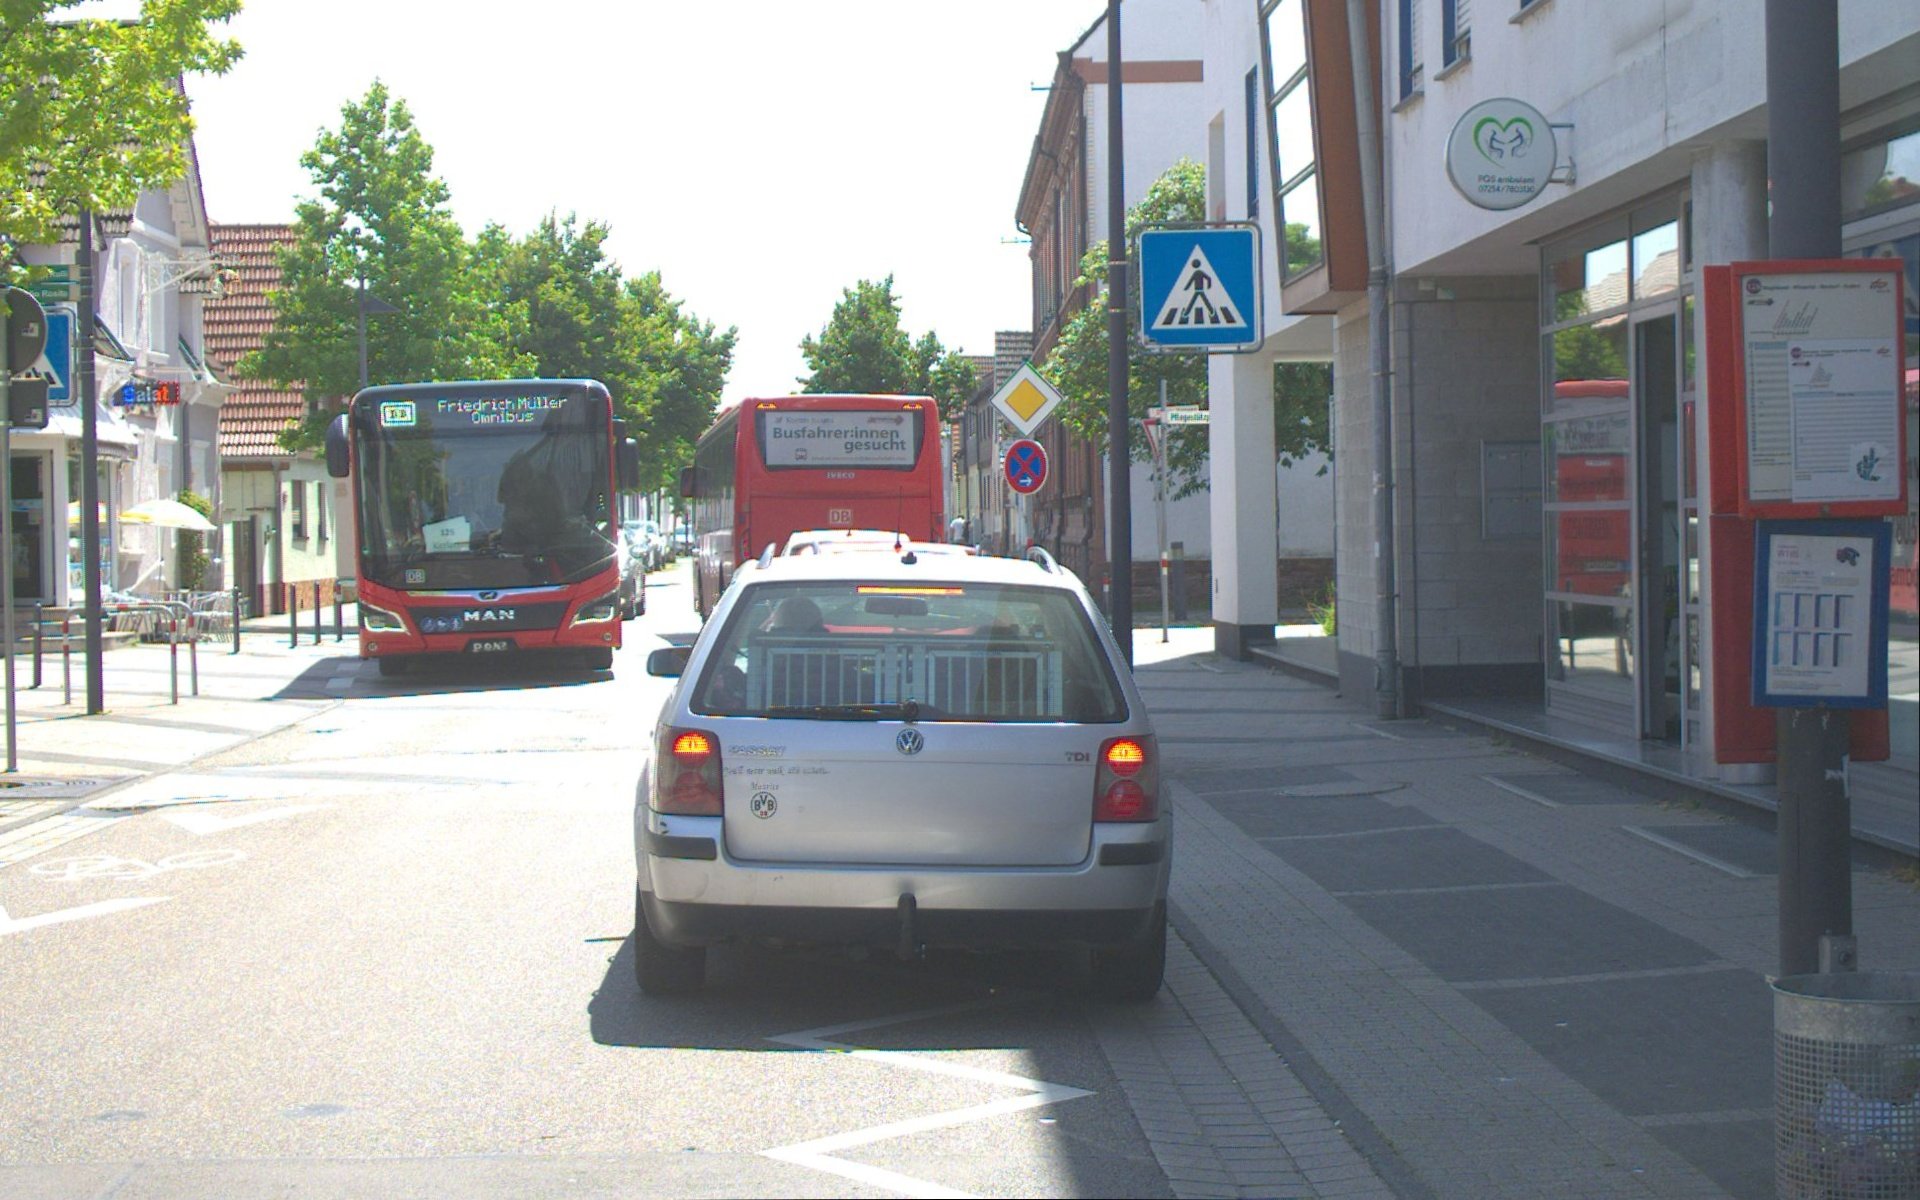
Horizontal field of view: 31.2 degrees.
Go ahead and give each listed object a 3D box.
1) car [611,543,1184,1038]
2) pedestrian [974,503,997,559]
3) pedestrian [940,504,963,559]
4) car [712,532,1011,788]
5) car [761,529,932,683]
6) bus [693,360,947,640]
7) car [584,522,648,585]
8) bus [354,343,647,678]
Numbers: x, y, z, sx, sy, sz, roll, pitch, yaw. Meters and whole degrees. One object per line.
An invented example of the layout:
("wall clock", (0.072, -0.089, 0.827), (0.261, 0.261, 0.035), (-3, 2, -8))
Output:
("car", (-0.254, 0.539, 12.042), (1.677, 1.425, 3.680), (1, 1, -2))
("pedestrian", (0.776, -2.086, 103.287), (0.606, 1.661, 0.789), (-1, 1, -3))
("pedestrian", (-0.258, -2.067, 104.199), (0.606, 1.661, 0.789), (-1, 1, -3))
("car", (-0.627, 0.301, 21.335), (1.677, 1.425, 3.680), (-1, 1, -2))
("car", (-1.098, 0.022, 33.947), (1.593, 1.425, 3.680), (0, 1, -1))
("bus", (-2.138, -1.297, 46.893), (2.739, 3.287, 12.708), (0, 1, -5))
("car", (-11.273, -1.538, 112.856), (1.811, 1.989, 4.001), (-1, 1, -2))
("bus", (-5.727, -1.026, 41.792), (2.668, 3.113, 17.811), (-2, 1, -9))
